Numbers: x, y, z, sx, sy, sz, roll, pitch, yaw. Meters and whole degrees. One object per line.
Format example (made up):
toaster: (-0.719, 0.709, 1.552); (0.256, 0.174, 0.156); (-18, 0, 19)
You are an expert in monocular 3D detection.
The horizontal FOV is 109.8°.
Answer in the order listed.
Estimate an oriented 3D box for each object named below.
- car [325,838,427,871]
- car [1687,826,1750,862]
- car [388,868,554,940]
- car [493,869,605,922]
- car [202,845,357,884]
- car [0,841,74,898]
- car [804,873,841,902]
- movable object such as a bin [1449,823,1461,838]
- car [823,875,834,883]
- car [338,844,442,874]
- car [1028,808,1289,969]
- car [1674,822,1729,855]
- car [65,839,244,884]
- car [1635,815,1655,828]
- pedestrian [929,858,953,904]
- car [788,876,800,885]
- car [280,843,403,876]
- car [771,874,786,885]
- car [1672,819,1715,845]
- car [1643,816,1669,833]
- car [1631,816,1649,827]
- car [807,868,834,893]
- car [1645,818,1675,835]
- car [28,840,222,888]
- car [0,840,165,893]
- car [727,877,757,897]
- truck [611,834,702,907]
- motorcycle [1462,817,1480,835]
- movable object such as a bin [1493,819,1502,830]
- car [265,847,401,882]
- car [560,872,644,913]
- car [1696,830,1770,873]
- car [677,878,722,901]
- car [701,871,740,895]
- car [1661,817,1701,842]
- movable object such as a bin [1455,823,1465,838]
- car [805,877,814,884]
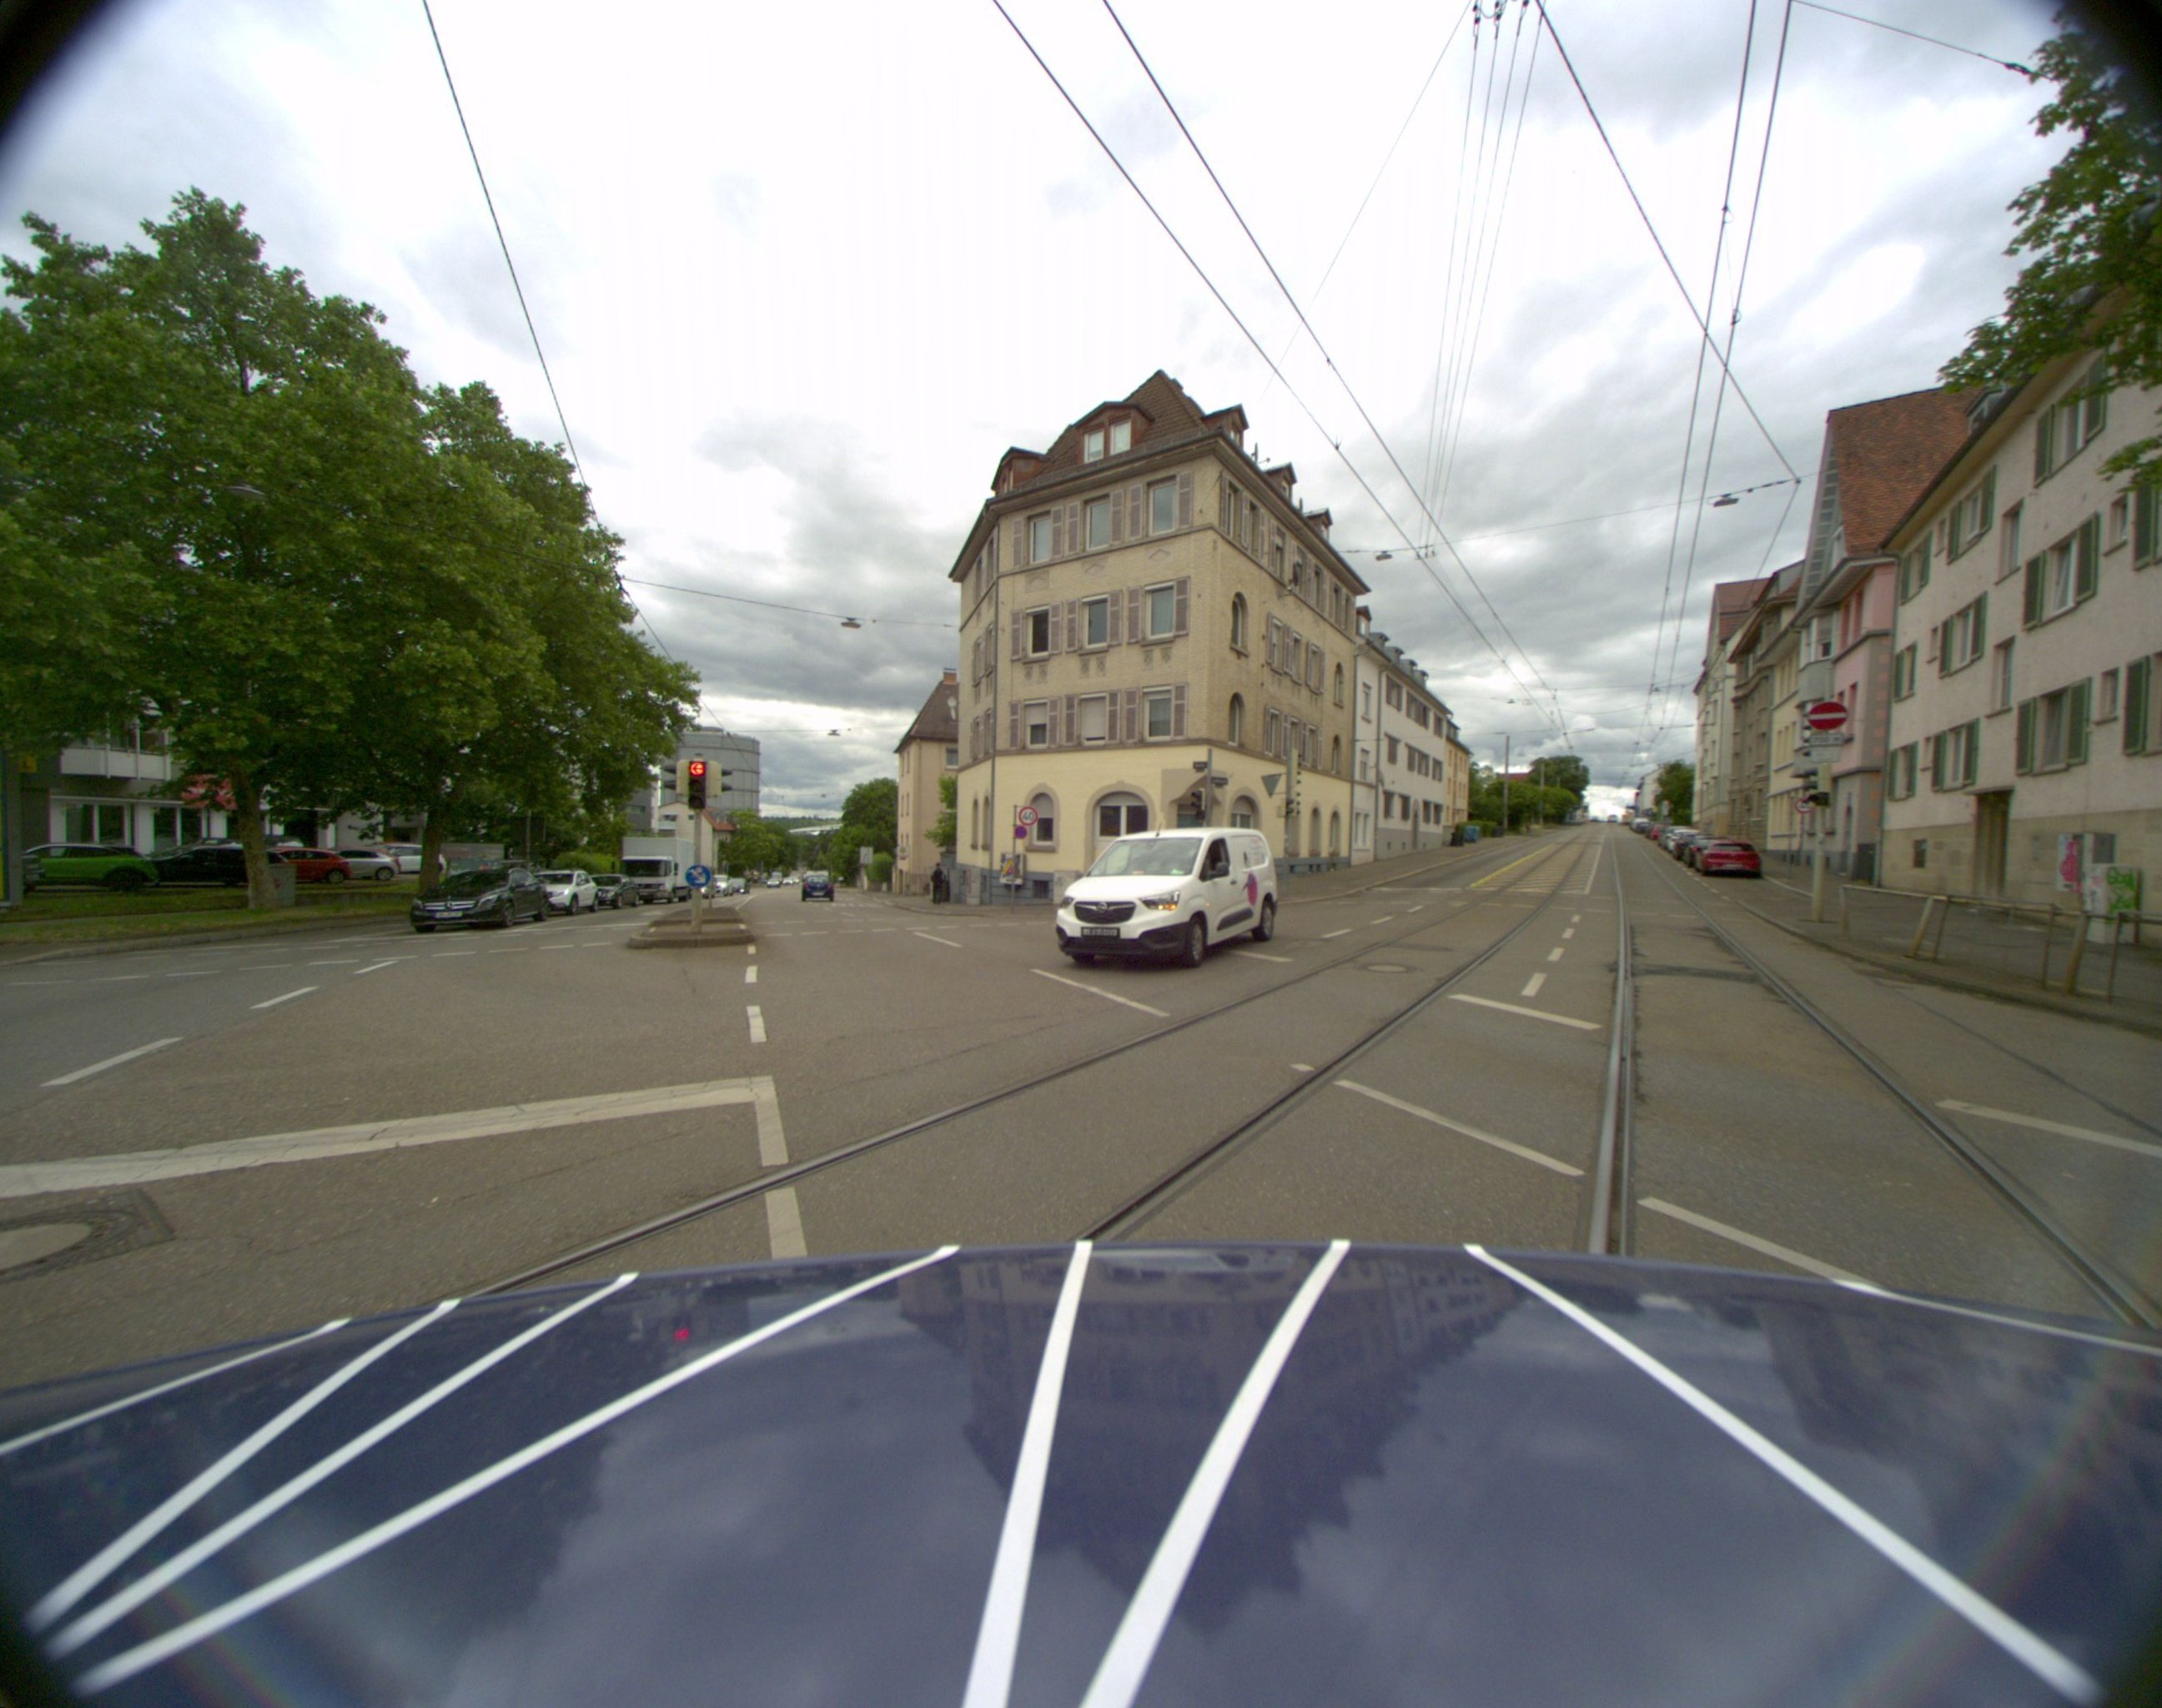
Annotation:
car: (-40.564, 0.044, 43.807); (1.858, 1.812, 4.009); (0, 0, 35)
car: (29.189, -0.512, 34.906); (1.785, 1.403, 4.248); (4, 5, 35)
car: (-15.270, 1.159, 19.329); (2.002, 1.517, 4.250); (-2, 0, -20)
car: (-17.696, 1.307, 25.507); (2.002, 1.517, 4.250); (-2, 0, -20)
car: (-33.072, 0.423, 31.494); (1.858, 1.496, 4.007); (0, 0, 24)
car: (-31.018, 0.410, 20.645); (4.005, 1.541, 1.859); (1, 0, -23)
car: (-14.398, 1.810, 42.439); (1.761, 1.438, 3.746); (-1, 0, -17)
movable object such as a bin: (26.691, -1.684, 54.266); (0.636, 1.004, 0.603); (5, 6, 35)
car: (-49.945, 4.935, 150.342); (2.001, 1.590, 3.994); (-2, 0, -17)
car: (-36.421, 0.264, 40.143); (1.788, 1.496, 3.623); (0, 0, 19)
car: (1.382, 0.412, 11.065); (1.884, 1.827, 4.686); (-1, -1, 32)
car: (32.149, -0.843, 39.458); (1.785, 1.503, 4.533); (4, 5, 35)
car: (-33.483, 0.277, 27.565); (1.858, 1.496, 4.009); (0, 0, 35)
car: (71.470, -4.096, 96.306); (1.739, 1.518, 3.958); (3, 5, 34)
pedestrian: (-5.993, 1.149, 32.486); (0.747, 1.925, 0.902); (-4, 1, -19)
car: (-55.454, 5.055, 146.933); (2.001, 1.590, 3.994); (-2, 0, -17)
car: (-35.751, 0.266, 36.816); (1.858, 1.496, 4.009); (0, 0, 35)
car: (-48.645, 4.112, 122.228); (2.001, 1.590, 3.994); (-2, 0, -17)
car: (37.771, -1.395, 46.922); (1.739, 1.503, 3.807); (2, 4, 35)
car: (56.999, -2.966, 75.347); (1.739, 1.518, 3.958); (3, 5, 34)
car: (78.567, -4.564, 106.811); (1.739, 1.518, 3.958); (3, 5, 34)
car: (-20.636, 2.077, 60.138); (1.873, 1.872, 4.278); (2, -2, -20)
car: (54.319, -2.650, 71.314); (1.739, 1.451, 3.958); (3, 5, 31)
car: (-32.405, 0.332, 25.861); (1.750, 1.496, 4.009); (0, 0, 35)
car: (-31.257, 0.378, 23.473); (1.617, 1.543, 3.619); (0, 0, 33)
car: (-30.367, 2.926, 68.208); (2.002, 1.620, 4.402); (-2, 0, -19)
truck: (-22.674, 0.835, 41.046); (2.776, 3.481, 8.158); (-2, 0, -19)
motorcycle: (31.294, -2.282, 60.940); (0.729, 1.383, 1.940); (7, 7, 41)
movable object such as a bin: (41.076, -2.876, 74.952); (0.668, 1.053, 0.540); (0, 3, 35)
car: (-33.984, 0.473, 34.652); (1.858, 1.496, 4.008); (0, 0, 26)
car: (-19.552, 1.513, 31.227); (2.002, 1.457, 4.401); (-2, 0, -20)
car: (26.052, -0.168, 30.492); (1.785, 1.431, 4.268); (4, 5, 35)
car: (-24.981, 2.291, 49.914); (1.921, 1.291, 4.402); (-2, 0, -18)
car: (-27.300, 2.165, 57.660); (2.001, 1.620, 4.403); (-2, 0, -17)
car: (40.450, -1.664, 51.296); (1.739, 1.559, 4.150); (1, 4, 34)
movable object such as a bin: (27.411, -1.689, 54.923); (0.564, 1.004, 0.499); (4, 5, 26)
car: (-75.877, 7.399, 212.517); (2.001, 1.590, 3.994); (-2, 0, -17)
